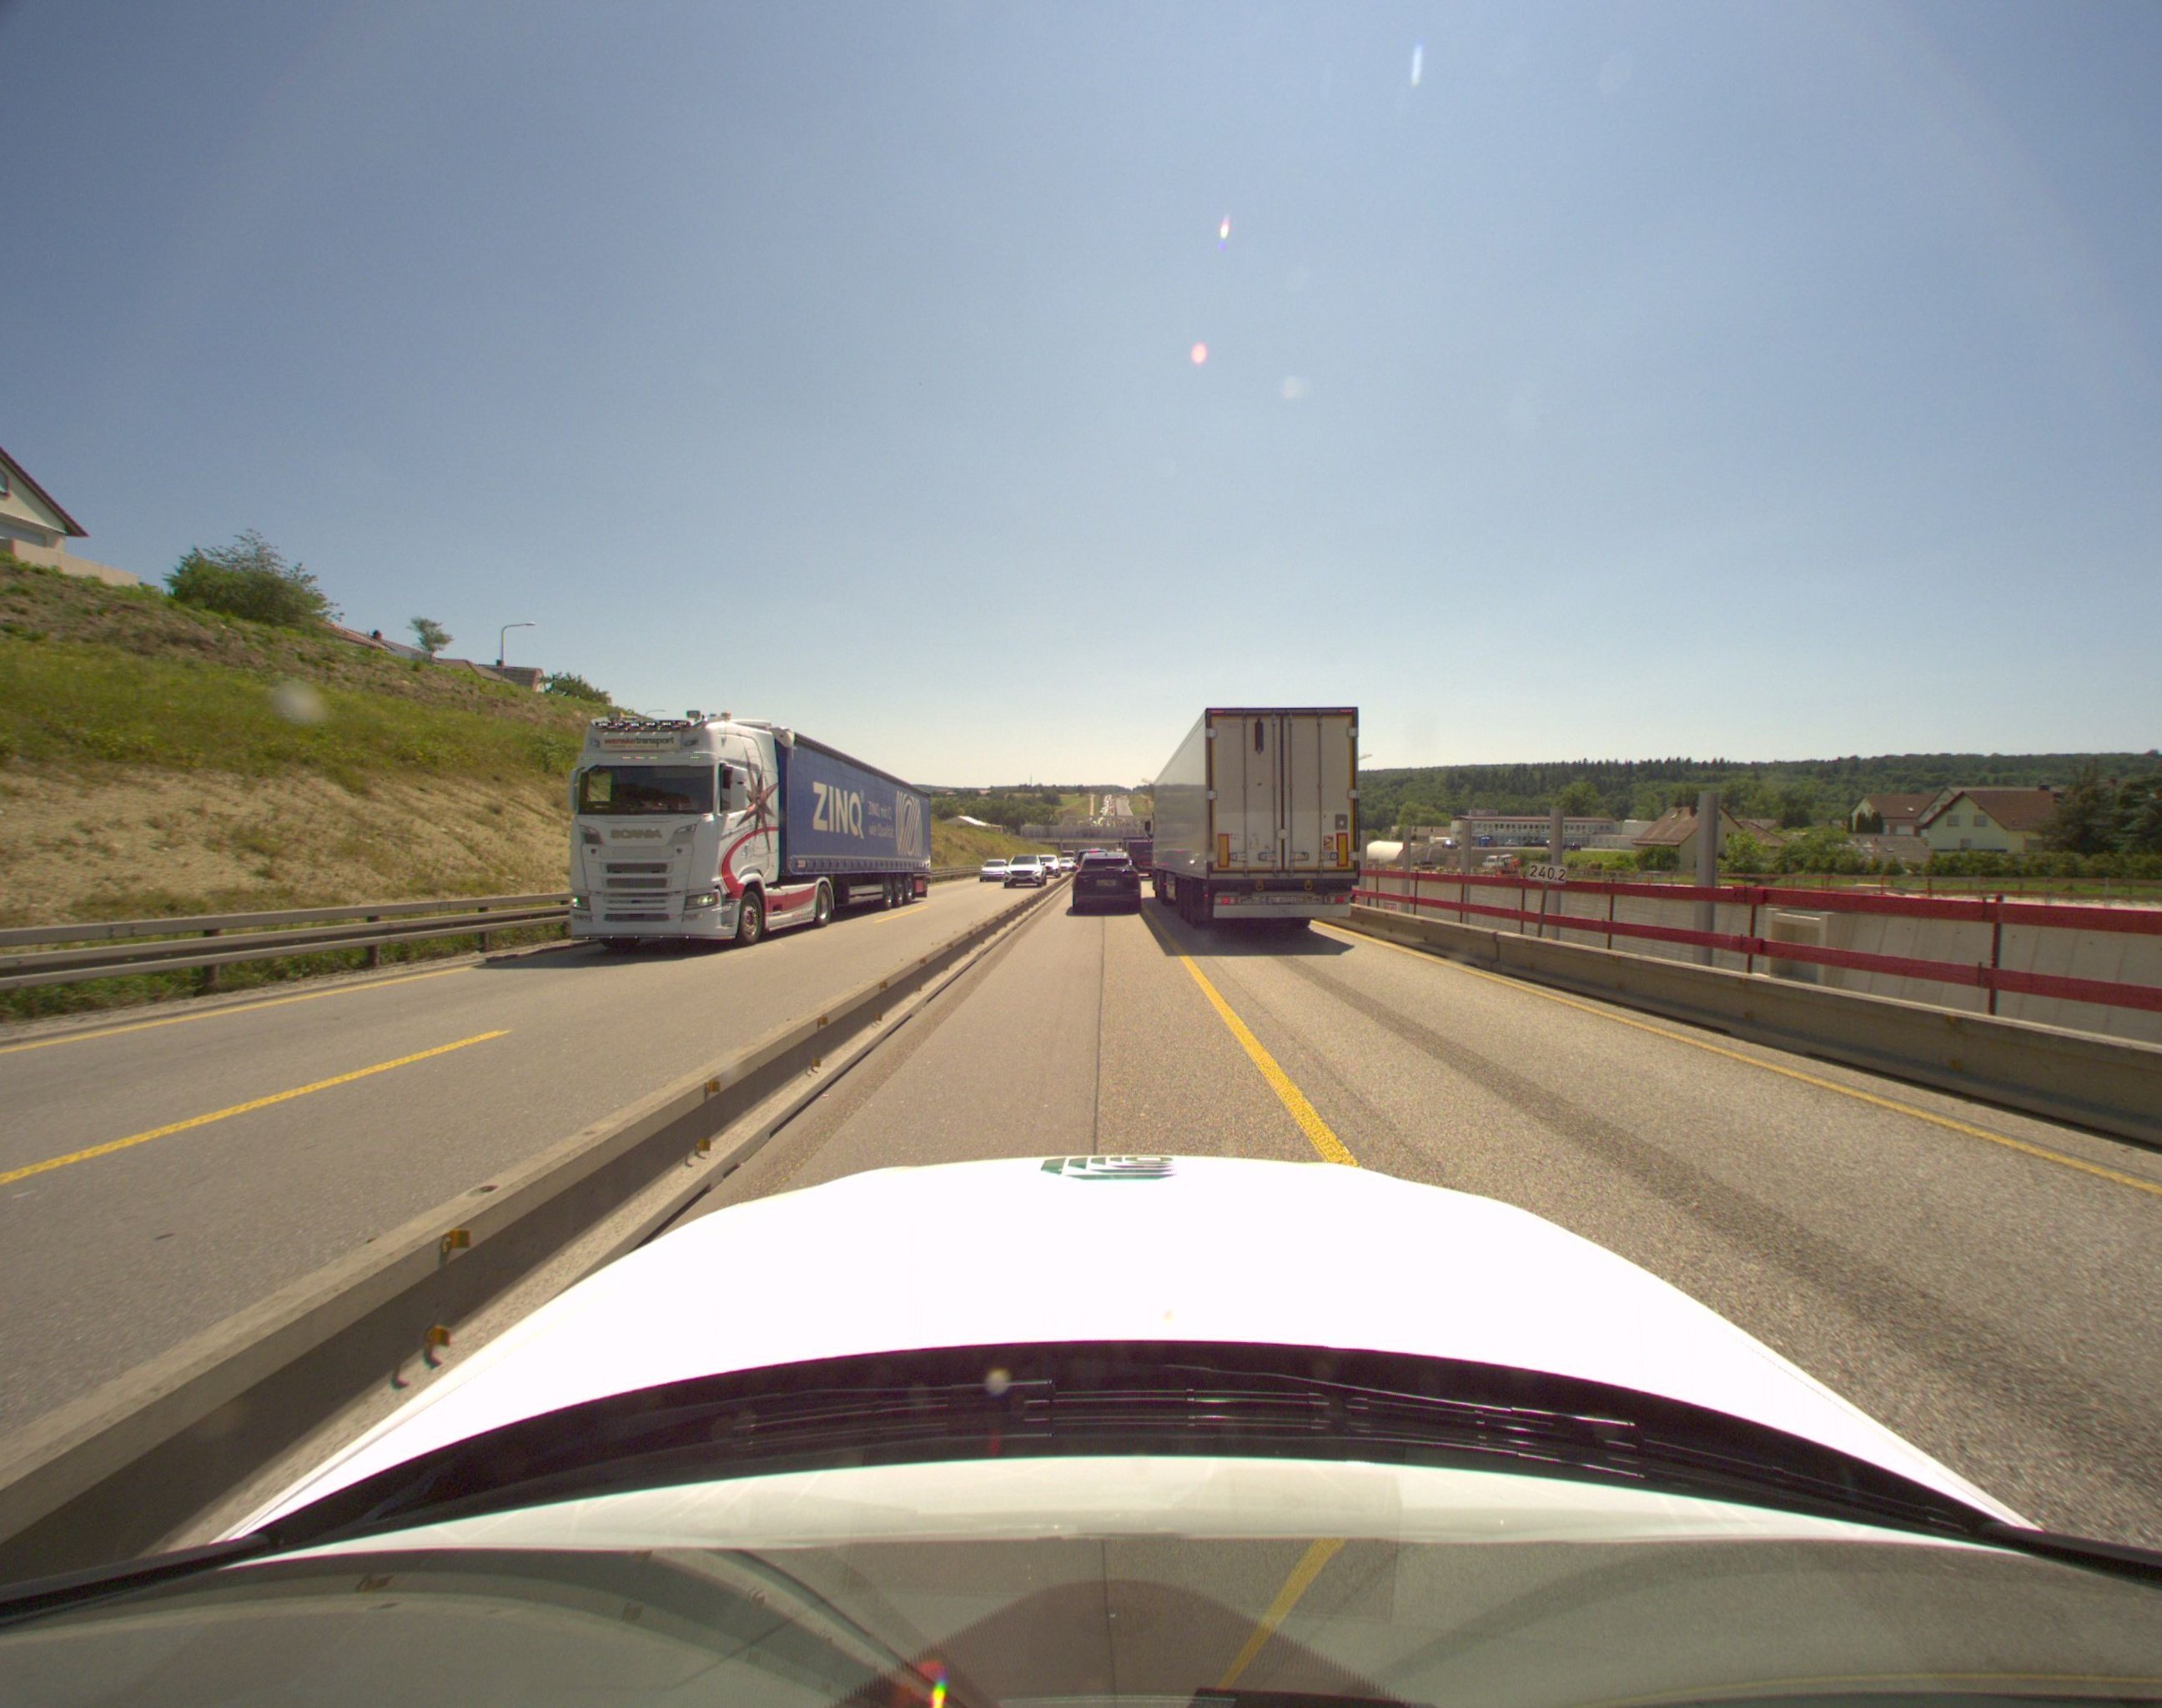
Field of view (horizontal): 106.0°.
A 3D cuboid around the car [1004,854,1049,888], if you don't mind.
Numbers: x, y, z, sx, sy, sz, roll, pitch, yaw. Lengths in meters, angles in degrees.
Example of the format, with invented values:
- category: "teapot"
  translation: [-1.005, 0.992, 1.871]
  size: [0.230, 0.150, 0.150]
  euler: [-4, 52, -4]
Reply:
- category: "car"
  translation: [-2.720, 0.822, 41.522]
  size: [1.805, 1.638, 4.364]
  euler: [-1, 0, 2]

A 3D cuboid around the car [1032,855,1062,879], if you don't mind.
- category: "car"
  translation: [-2.434, 0.927, 59.252]
  size: [1.884, 1.708, 4.561]
  euler: [0, 0, 1]

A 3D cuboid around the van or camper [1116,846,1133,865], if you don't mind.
- category: "van or camper"
  translation: [5.302, 0.136, 99.245]
  size: [1.986, 2.244, 4.002]
  euler: [1, 0, 2]

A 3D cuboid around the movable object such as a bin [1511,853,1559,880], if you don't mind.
- category: "movable object such as a bin"
  translation: [39.277, 1.068, 70.625]
  size: [1.986, 2.239, 4.154]
  euler: [0, 0, 2]

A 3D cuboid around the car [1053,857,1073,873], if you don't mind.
- category: "car"
  translation: [-1.759, 1.070, 81.498]
  size: [1.800, 1.477, 4.280]
  euler: [0, 0, 1]

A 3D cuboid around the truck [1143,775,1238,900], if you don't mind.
- category: "truck"
  translation: [3.760, -0.520, 29.026]
  size: [2.767, 4.058, 4.905]
  euler: [-1, -1, 1]

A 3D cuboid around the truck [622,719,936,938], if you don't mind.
- category: "truck"
  translation: [-7.055, -0.476, 22.662]
  size: [3.232, 4.160, 13.981]
  euler: [-1, 0, 1]

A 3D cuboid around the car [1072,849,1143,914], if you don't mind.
- category: "car"
  translation: [0.719, 0.683, 22.235]
  size: [1.794, 1.620, 3.299]
  euler: [-1, 0, 1]

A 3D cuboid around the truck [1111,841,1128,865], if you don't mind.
- category: "truck"
  translation: [6.341, -0.187, 135.296]
  size: [2.509, 3.959, 7.601]
  euler: [1, 0, 1]

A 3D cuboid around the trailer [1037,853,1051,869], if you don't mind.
- category: "trailer"
  translation: [-4.918, 0.955, 109.138]
  size: [1.642, 2.025, 4.268]
  euler: [-1, 0, -1]

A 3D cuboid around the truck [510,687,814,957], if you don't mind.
- category: "truck"
  translation: [-7.229, -0.491, 14.806]
  size: [3.228, 4.160, 4.248]
  euler: [-1, 0, 1]

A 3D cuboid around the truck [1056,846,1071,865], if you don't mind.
- category: "truck"
  translation: [-3.560, 0.356, 168.053]
  size: [2.577, 3.723, 9.335]
  euler: [-1, 0, 1]

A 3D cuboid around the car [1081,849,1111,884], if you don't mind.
- category: "car"
  translation: [0.825, 0.634, 43.396]
  size: [1.469, 1.795, 3.299]
  euler: [-1, 0, 2]

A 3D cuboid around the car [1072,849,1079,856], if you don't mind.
- category: "car"
  translation: [-1.446, -0.442, 216.583]
  size: [1.726, 1.794, 3.581]
  euler: [0, 0, 1]

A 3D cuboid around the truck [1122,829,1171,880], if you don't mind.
- category: "truck"
  translation: [4.355, 0.081, 56.600]
  size: [2.803, 3.135, 12.844]
  euler: [-1, 0, 2]

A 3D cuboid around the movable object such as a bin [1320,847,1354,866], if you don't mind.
- category: "movable object such as a bin"
  translation: [41.315, 0.360, 131.684]
  size: [2.876, 2.909, 9.484]
  euler: [0, 0, 2]

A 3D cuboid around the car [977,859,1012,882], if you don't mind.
- category: "car"
  translation: [-5.498, 1.020, 52.111]
  size: [1.696, 1.378, 3.967]
  euler: [0, 0, 1]

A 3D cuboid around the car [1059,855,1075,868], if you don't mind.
- category: "car"
  translation: [-1.665, 0.905, 100.719]
  size: [1.809, 1.592, 4.290]
  euler: [0, 0, 1]

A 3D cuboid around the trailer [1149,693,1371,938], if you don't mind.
- category: "trailer"
  translation: [3.577, -0.585, 20.681]
  size: [2.791, 4.058, 14.119]
  euler: [-1, -1, 1]
